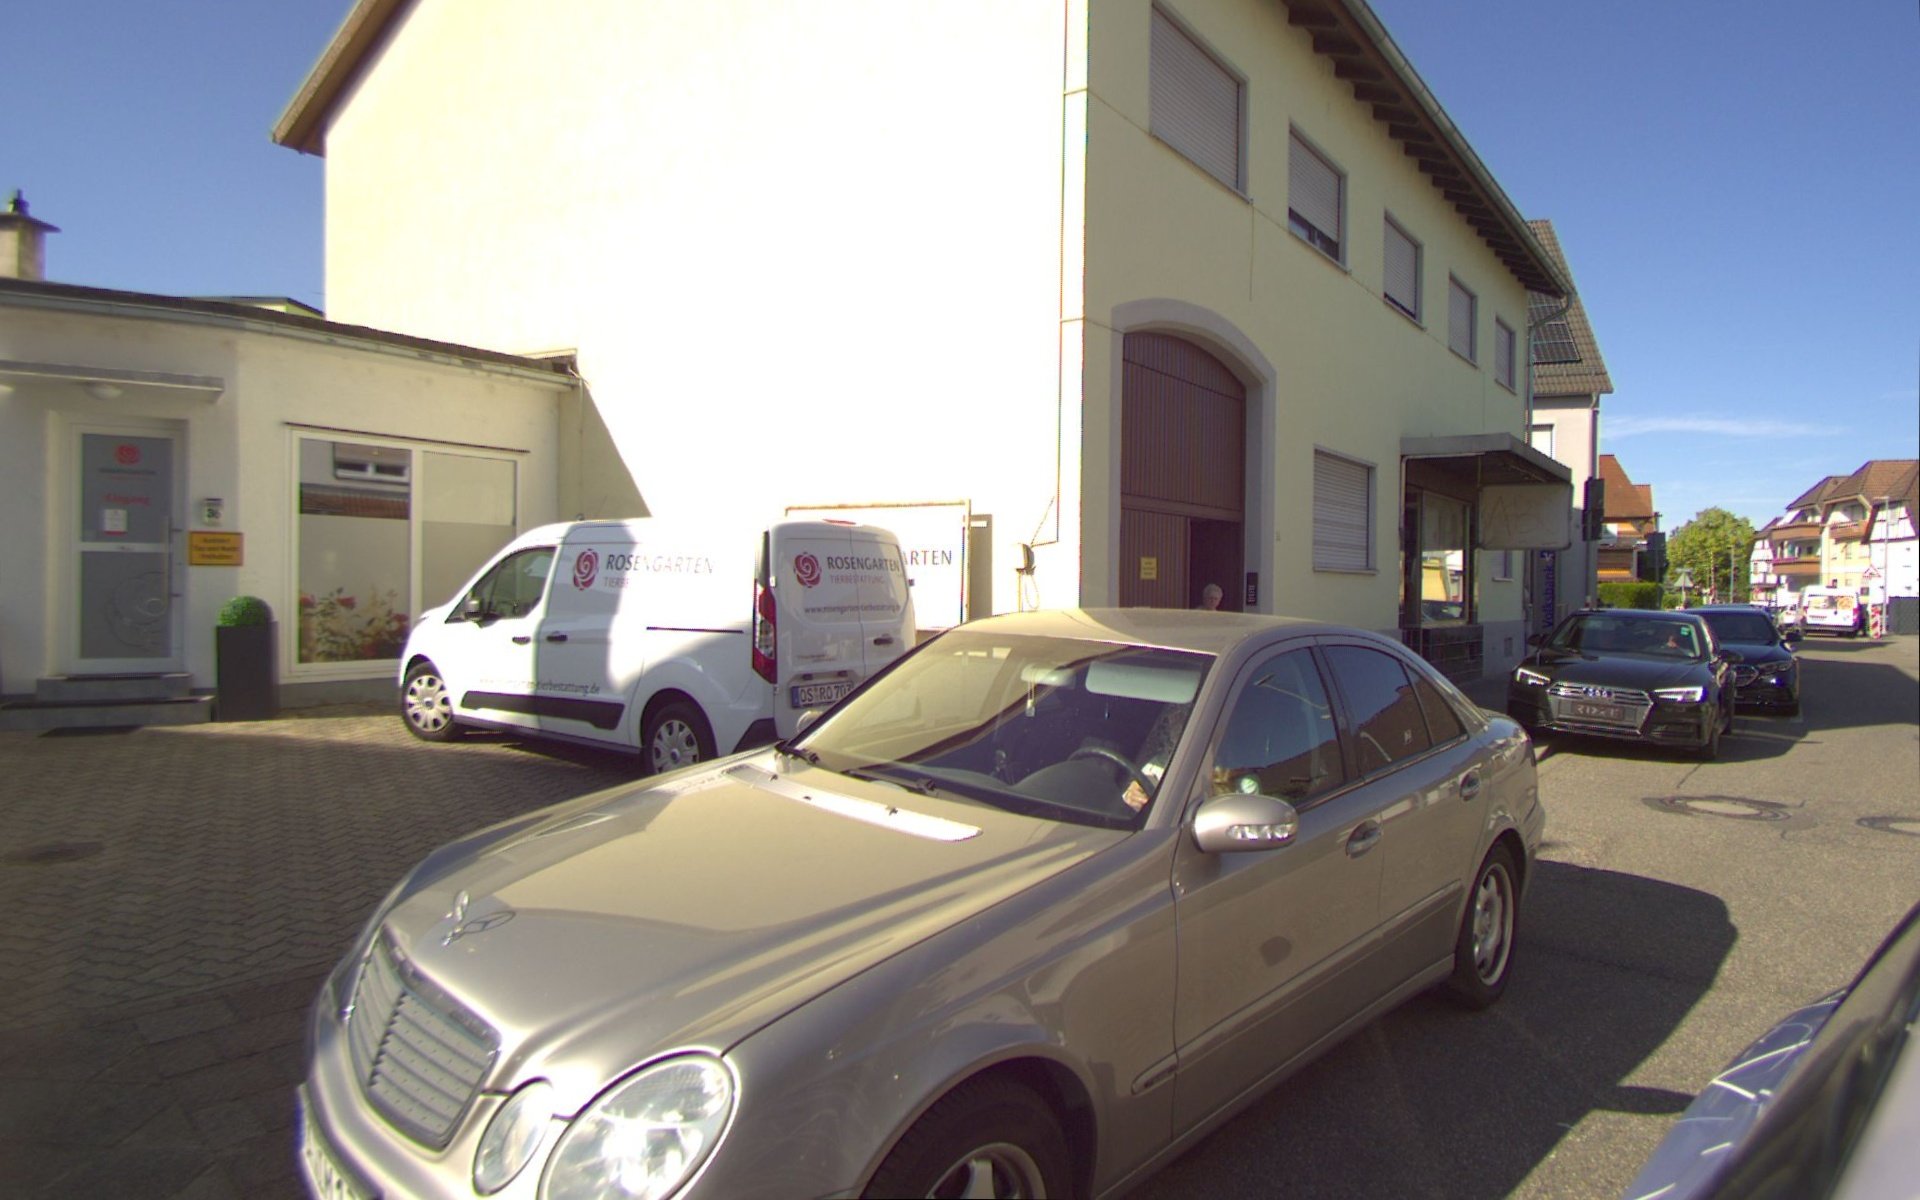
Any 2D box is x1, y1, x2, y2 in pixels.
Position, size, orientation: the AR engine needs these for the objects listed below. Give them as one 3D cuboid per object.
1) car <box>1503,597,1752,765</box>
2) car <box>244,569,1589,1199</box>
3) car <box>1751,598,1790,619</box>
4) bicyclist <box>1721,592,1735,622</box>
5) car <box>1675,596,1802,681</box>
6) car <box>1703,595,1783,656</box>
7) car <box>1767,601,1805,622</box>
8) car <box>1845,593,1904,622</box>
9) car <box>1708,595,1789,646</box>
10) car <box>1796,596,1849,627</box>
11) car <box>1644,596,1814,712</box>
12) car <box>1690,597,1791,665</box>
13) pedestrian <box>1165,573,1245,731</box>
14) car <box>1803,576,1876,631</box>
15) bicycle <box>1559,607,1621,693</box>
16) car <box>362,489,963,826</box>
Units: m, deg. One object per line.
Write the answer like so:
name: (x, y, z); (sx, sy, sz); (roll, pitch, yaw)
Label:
car: (7.716, 0.731, 11.470); (1.806, 1.494, 4.773); (-1, -1, 40)
car: (0.503, 0.699, 3.457); (1.812, 1.494, 4.584); (2, 1, 45)
car: (63.193, 0.622, 78.972); (1.750, 1.576, 3.957); (1, 1, 30)
bicyclist: (44.431, 0.385, 58.566); (0.640, 1.685, 0.596); (1, 0, 38)
car: (15.590, 0.691, 20.180); (1.806, 1.494, 4.379); (-1, -1, 40)
car: (21.503, 0.655, 27.739); (1.607, 1.540, 3.915); (-1, -1, 39)
car: (58.464, 0.796, 71.697); (1.611, 1.457, 3.910); (1, 1, 32)
car: (53.242, 0.393, 58.986); (1.633, 1.607, 4.069); (0, 0, 29)
car: (25.501, 0.619, 32.675); (1.844, 1.533, 4.439); (1, 0, 41)
car: (49.049, 0.630, 57.589); (1.715, 1.638, 4.064); (1, 1, 33)
car: (11.853, 0.711, 15.480); (1.806, 1.494, 4.773); (-1, -1, 40)
car: (18.631, 0.683, 24.093); (1.723, 1.494, 3.818); (-1, -1, 40)
pedestrian: (2.546, 0.514, 10.497); (0.562, 1.571, 0.760); (0, -1, 37)
car: (43.226, 0.154, 49.856); (2.247, 2.501, 5.443); (1, 1, 36)
bicycle: (9.279, 0.699, 14.889); (0.507, 1.172, 1.485); (3, 2, 41)
car: (-2.486, 0.191, 7.858); (4.747, 1.909, 1.885); (4, 2, 35)
